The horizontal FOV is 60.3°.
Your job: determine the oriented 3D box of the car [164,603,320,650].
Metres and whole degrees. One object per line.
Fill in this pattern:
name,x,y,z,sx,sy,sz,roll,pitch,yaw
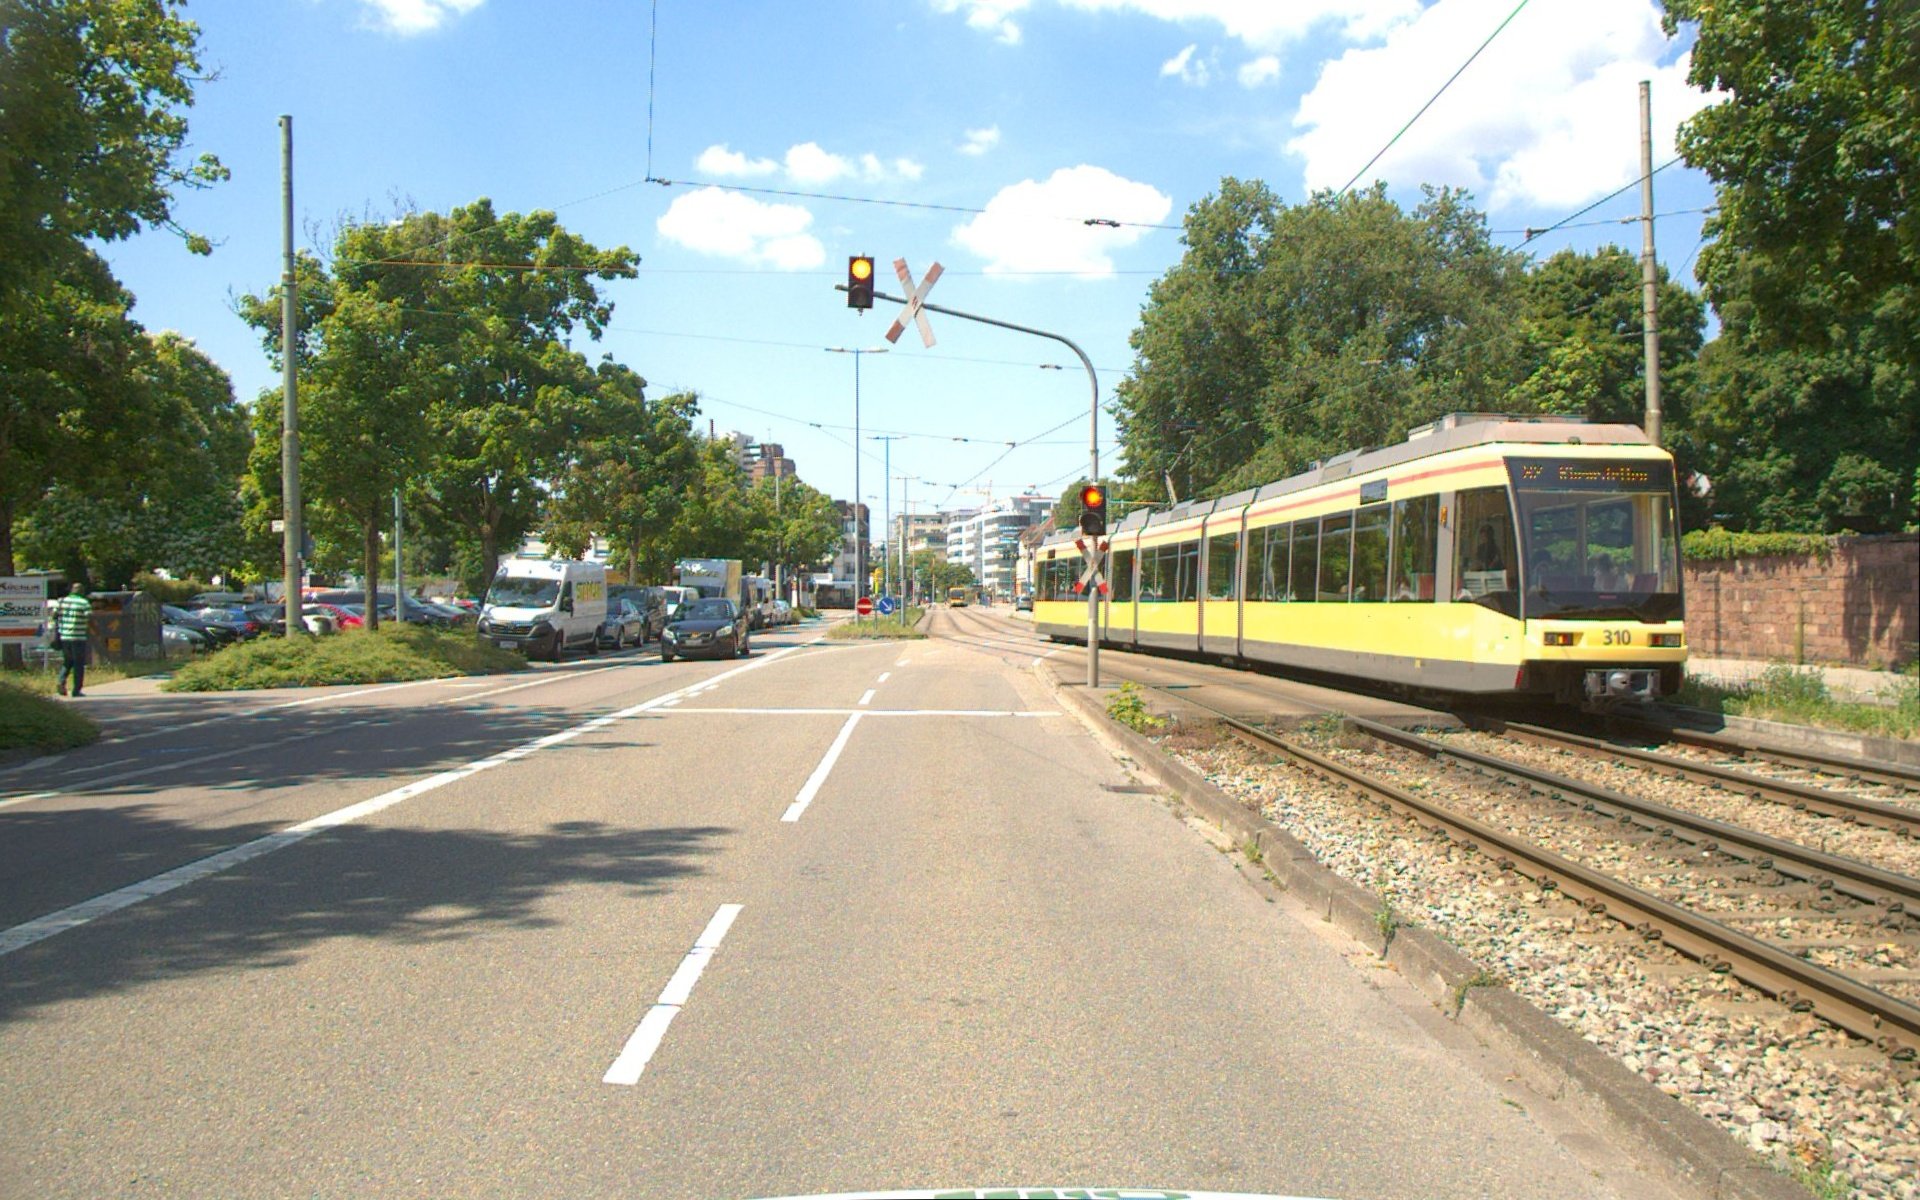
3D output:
car,-21.647,0.790,49.978,3.906,1.362,1.804,-1,0,-2

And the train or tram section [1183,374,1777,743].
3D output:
train or tram section,6.604,-0.494,26.202,2.884,3.756,18.381,1,0,-2

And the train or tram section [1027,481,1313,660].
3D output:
train or tram section,4.900,-0.707,45.316,2.887,3.756,20.252,1,0,-7

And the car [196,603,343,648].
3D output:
car,-21.918,0.789,52.610,3.906,1.362,1.804,-1,0,-2

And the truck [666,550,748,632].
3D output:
truck,-10.888,-0.375,71.670,2.112,3.266,7.083,3,0,2

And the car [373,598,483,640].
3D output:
car,-21.585,0.747,67.206,3.906,1.634,1.804,-1,0,-2

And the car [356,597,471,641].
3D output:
car,-21.375,0.728,64.807,3.906,1.634,1.804,-1,0,-2

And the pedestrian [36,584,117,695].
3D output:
pedestrian,-15.006,0.659,28.101,0.955,1.855,0.794,0,0,-4

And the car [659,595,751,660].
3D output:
car,-6.065,0.621,39.707,1.644,1.422,4.004,-2,0,-2

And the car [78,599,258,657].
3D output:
car,-21.061,0.727,44.108,3.906,1.467,1.804,-1,0,-2

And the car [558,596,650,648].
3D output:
car,-10.705,0.627,49.957,1.830,1.462,4.342,-1,0,0

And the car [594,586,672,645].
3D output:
car,-11.212,0.502,57.023,1.830,1.928,4.270,-1,0,0

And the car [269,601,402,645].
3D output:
car,-21.643,0.784,57.406,3.906,1.467,1.805,-1,0,-2

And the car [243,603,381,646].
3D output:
car,-21.580,0.818,55.178,3.906,1.362,1.804,-1,0,-2

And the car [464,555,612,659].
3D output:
car,-10.961,0.155,43.493,2.112,2.530,6.194,-1,0,2

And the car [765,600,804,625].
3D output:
car,-11.396,0.801,107.921,2.019,1.609,4.871,-1,0,0

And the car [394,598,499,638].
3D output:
car,-21.842,0.750,70.423,3.906,1.634,1.804,-1,0,-2

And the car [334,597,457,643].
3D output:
car,-20.643,0.720,60.593,3.906,1.634,1.804,-1,0,-2

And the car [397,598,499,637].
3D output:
car,-22.454,0.747,72.665,3.906,1.634,1.804,-1,0,-2

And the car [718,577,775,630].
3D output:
car,-11.165,0.146,86.702,2.112,2.685,5.612,0,0,2

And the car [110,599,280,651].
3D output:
car,-21.473,0.687,46.519,3.906,1.362,1.804,-1,0,-2

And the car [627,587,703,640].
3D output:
car,-11.184,0.473,63.043,2.019,1.931,4.871,-1,0,0

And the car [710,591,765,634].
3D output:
car,-10.641,0.569,79.402,2.019,2.011,4.871,-1,0,0
